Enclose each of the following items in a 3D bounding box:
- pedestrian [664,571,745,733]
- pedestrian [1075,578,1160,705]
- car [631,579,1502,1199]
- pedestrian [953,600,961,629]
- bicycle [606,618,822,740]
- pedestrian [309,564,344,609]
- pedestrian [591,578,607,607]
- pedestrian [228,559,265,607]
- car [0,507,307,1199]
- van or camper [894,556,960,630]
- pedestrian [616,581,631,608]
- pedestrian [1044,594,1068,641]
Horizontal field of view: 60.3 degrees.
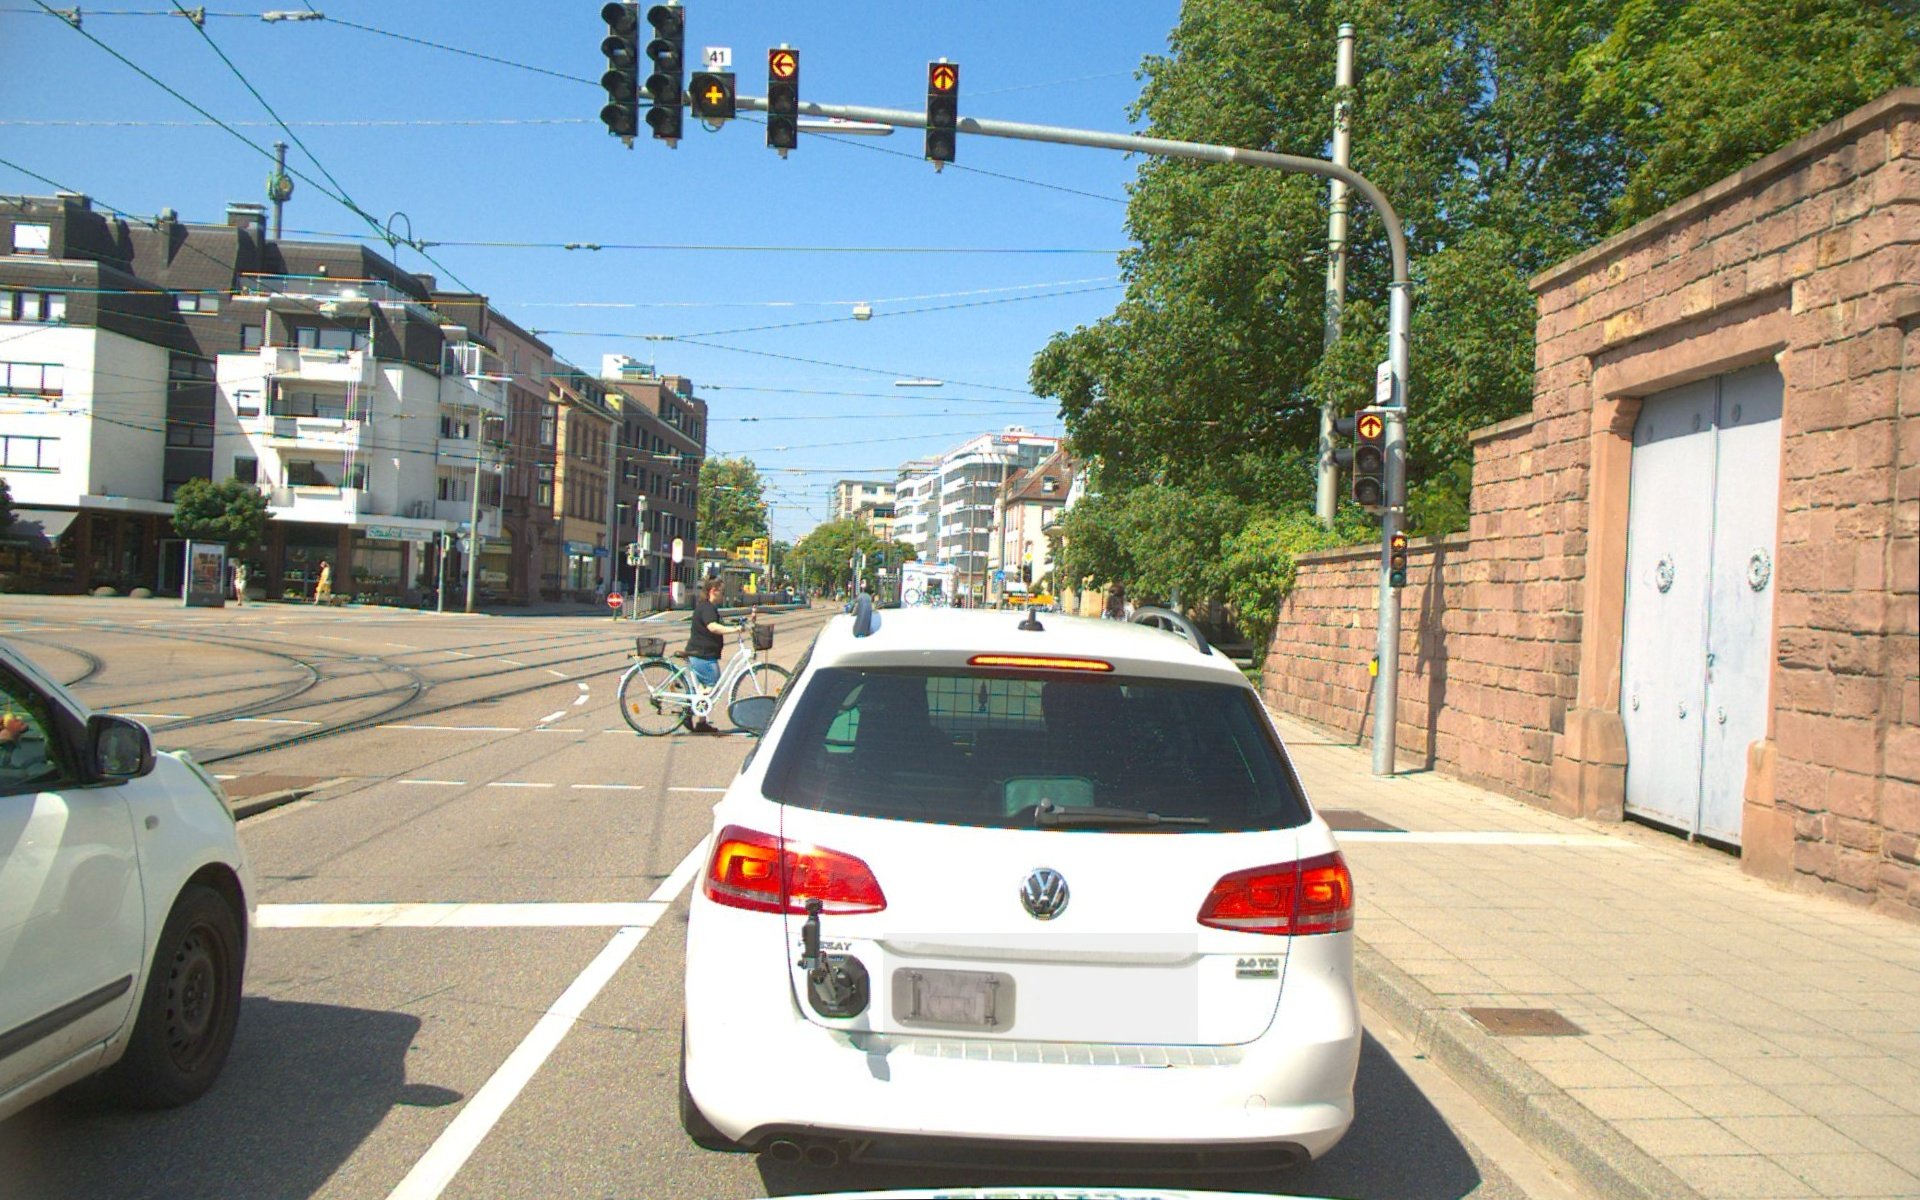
[{"bbox_3d":[-2.594,0.515,16.746,0.733,1.599,0.673,1,1,-15],"label":"pedestrian"},{"bbox_3d":[2.152,0.560,22.540,0.933,1.680,0.975,0,-1,20],"label":"pedestrian"},{"bbox_3d":[0.188,0.716,5.432,1.771,1.473,3.999,2,0,-1],"label":"car"},{"bbox_3d":[-0.235,1.193,134.313,0.675,2.366,1.232,0,-1,0],"label":"pedestrian"},{"bbox_3d":[-2.407,0.767,16.160,1.986,1.109,0.707,2,0,-16],"label":"bicycle"},{"bbox_3d":[-25.365,-0.549,66.237,0.847,1.773,0.971,0,-1,35],"label":"pedestrian"},{"bbox_3d":[-22.204,-0.450,101.834,0.845,1.773,0.973,1,-1,-6],"label":"pedestrian"},{"bbox_3d":[-26.830,-0.619,62.202,0.845,1.773,0.973,0,-1,29],"label":"pedestrian"},{"bbox_3d":[-2.841,0.592,3.310,1.608,1.593,3.803,1,1,-1],"label":"car"},{"bbox_3d":[-1.388,-0.252,73.110,2.513,3.147,5.704,0,-1,3],"label":"van or camper"},{"bbox_3d":[-21.875,-0.363,107.668,0.845,1.773,0.973,1,-1,-6],"label":"pedestrian"},{"bbox_3d":[3.703,0.675,63.794,0.843,1.773,0.975,0,-1,6],"label":"pedestrian"}]
